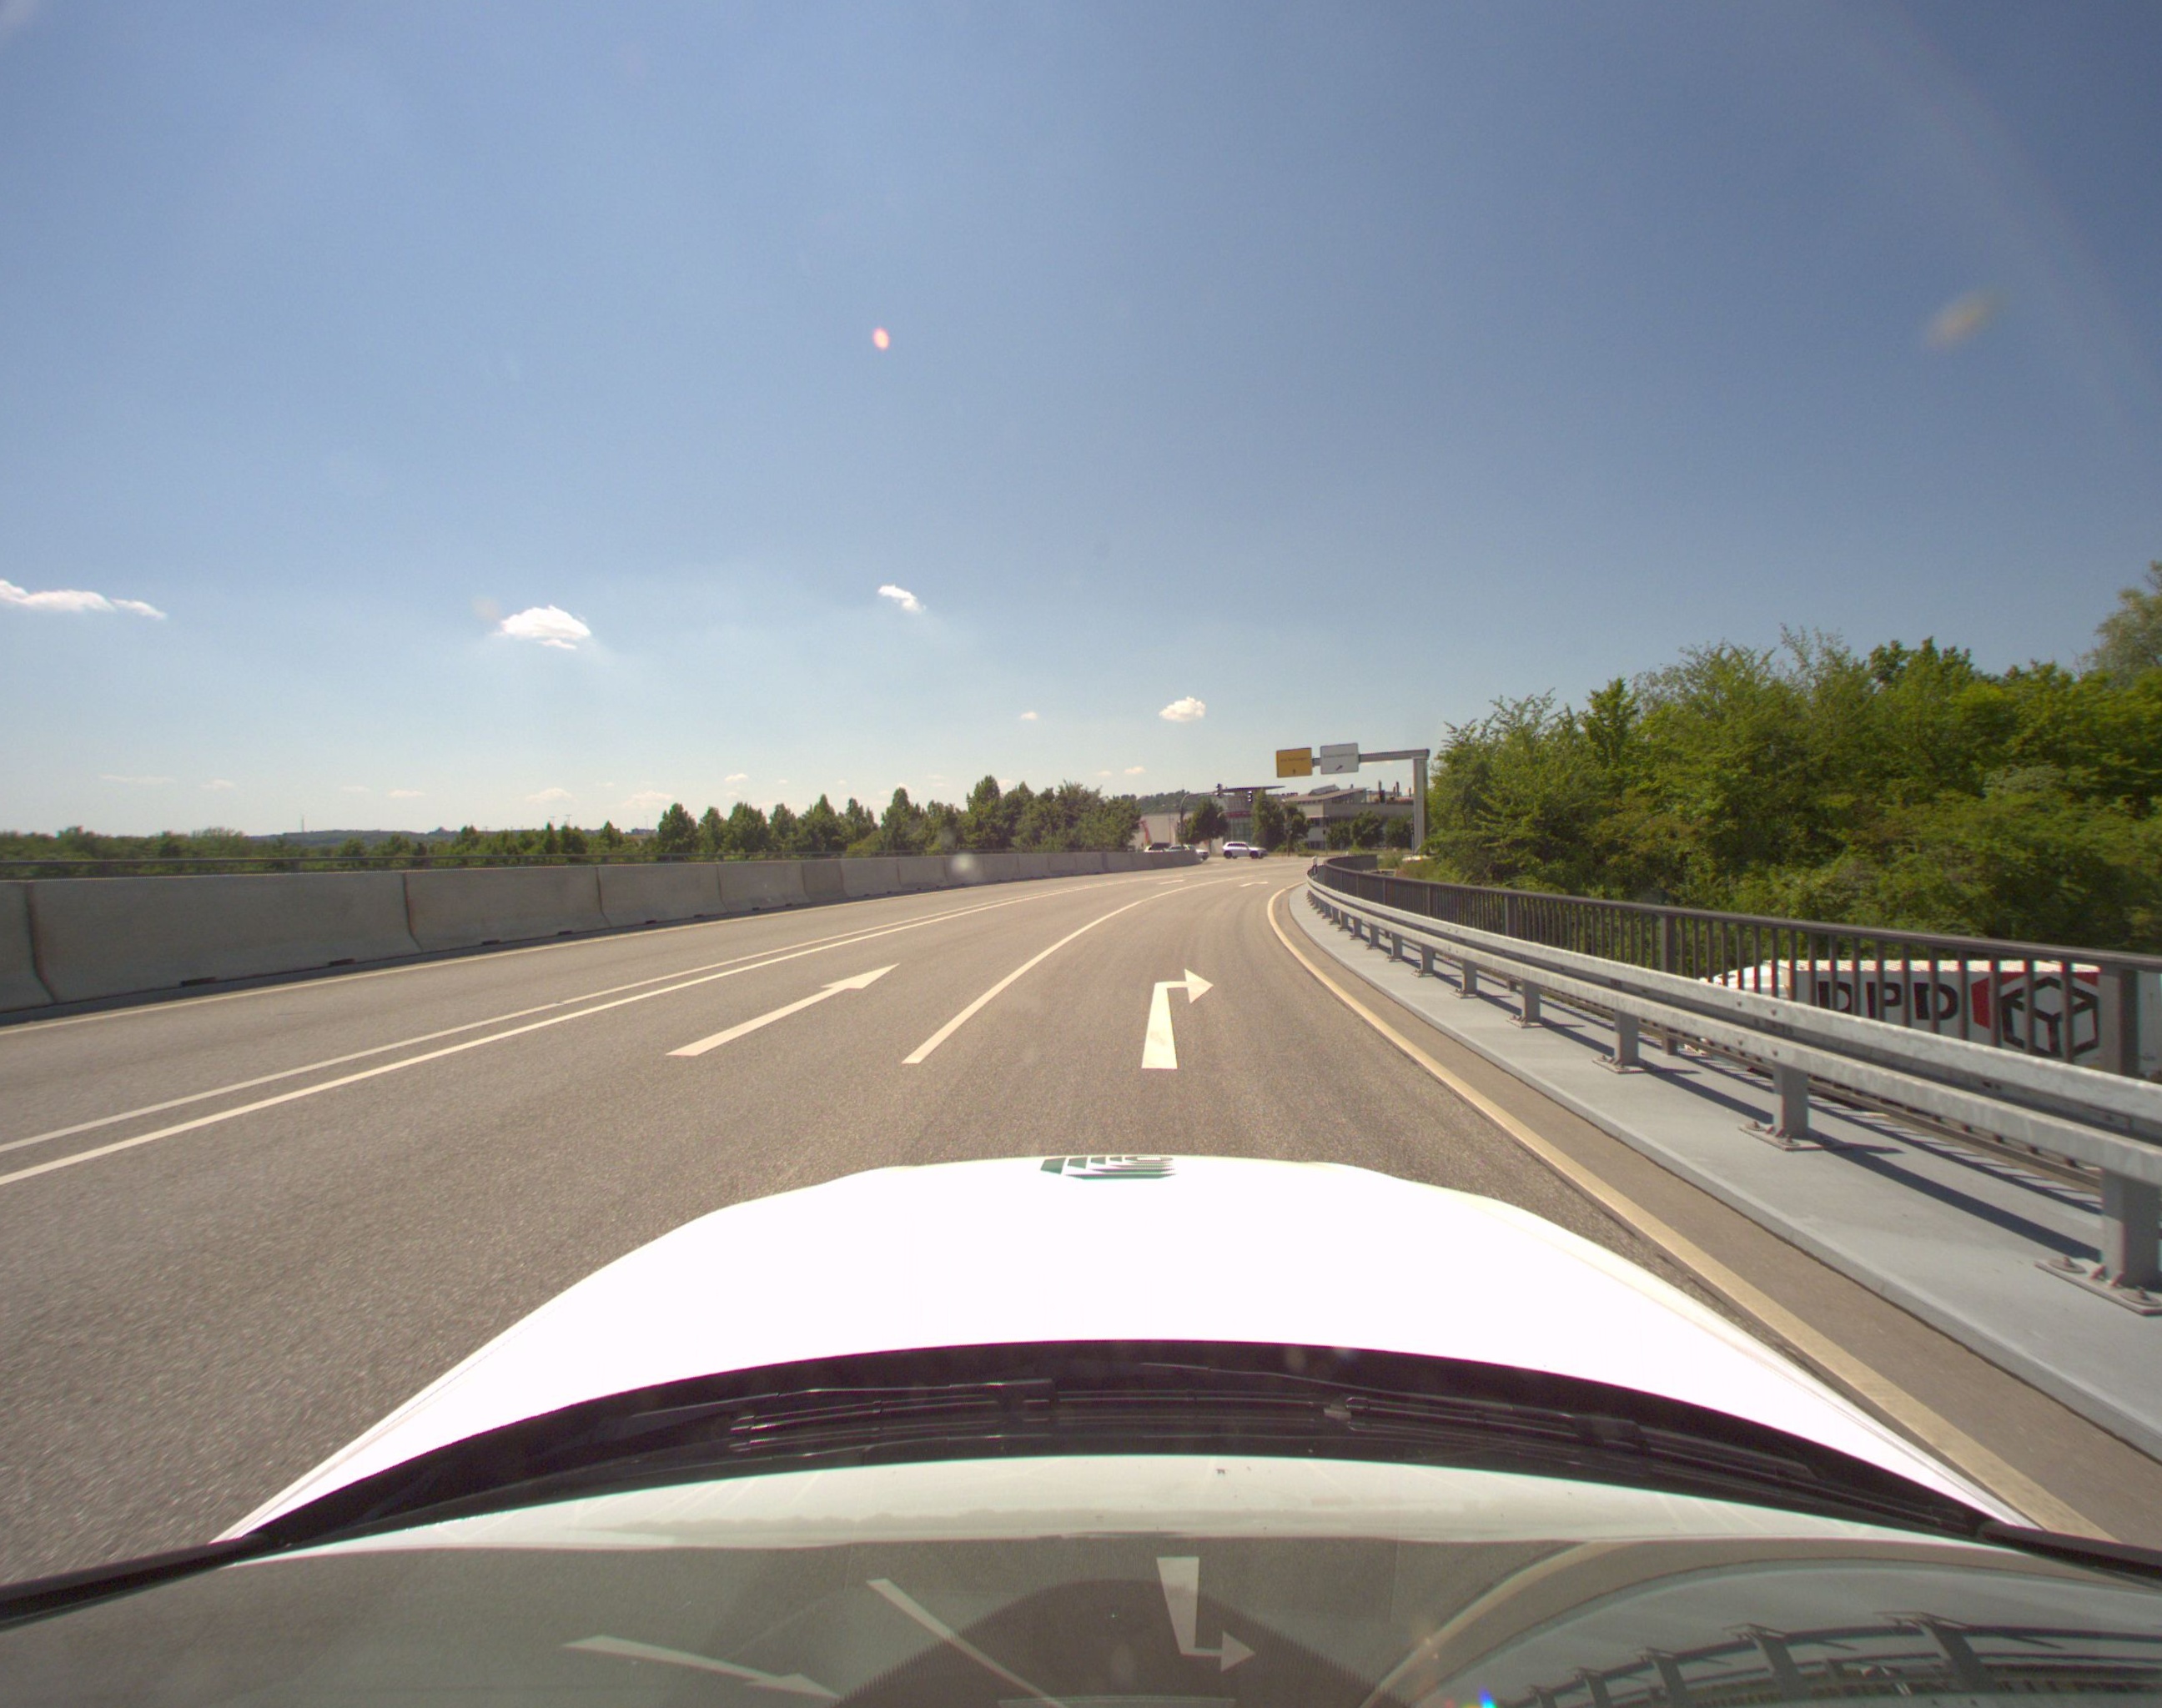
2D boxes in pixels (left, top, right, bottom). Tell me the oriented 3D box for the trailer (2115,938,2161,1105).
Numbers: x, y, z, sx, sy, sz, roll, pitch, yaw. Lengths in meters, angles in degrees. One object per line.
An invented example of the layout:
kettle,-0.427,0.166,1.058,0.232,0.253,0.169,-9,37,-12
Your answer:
trailer,32.688,4.442,20.156,8.291,4.347,2.916,-2,-1,24

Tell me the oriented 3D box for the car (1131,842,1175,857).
car,7.496,-0.507,84.702,4.082,1.486,2.013,1,2,36

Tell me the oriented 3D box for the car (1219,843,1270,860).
car,15.825,-0.262,78.735,4.340,1.505,2.012,-2,-1,29

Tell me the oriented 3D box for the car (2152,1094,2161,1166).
car,25.732,6.144,16.749,4.094,1.553,1.804,-2,-1,24

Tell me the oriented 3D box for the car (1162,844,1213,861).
car,10.037,-0.147,76.989,4.492,1.495,1.805,-1,1,38

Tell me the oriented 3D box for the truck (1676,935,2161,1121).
truck,24.425,4.765,23.816,10.878,4.347,2.916,-2,-1,24
